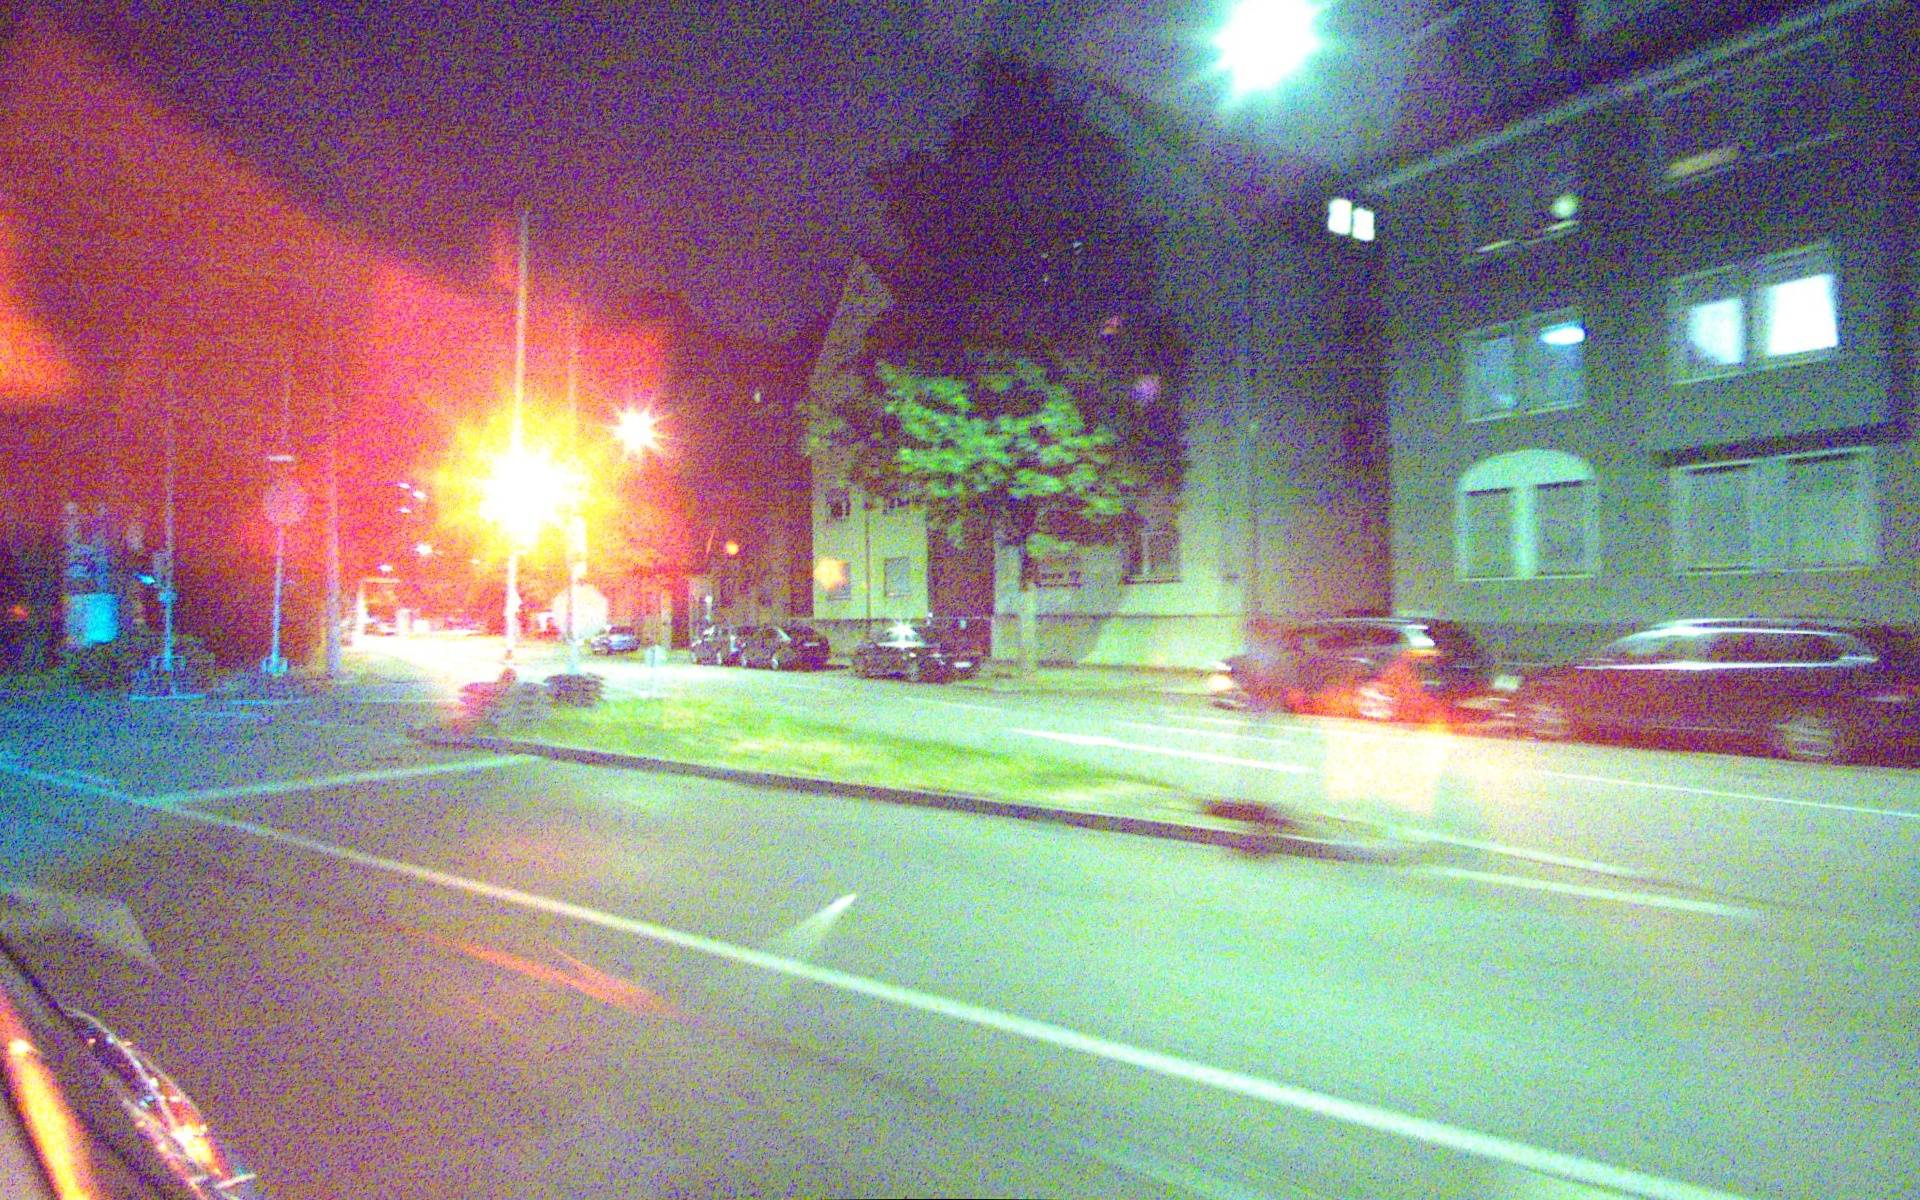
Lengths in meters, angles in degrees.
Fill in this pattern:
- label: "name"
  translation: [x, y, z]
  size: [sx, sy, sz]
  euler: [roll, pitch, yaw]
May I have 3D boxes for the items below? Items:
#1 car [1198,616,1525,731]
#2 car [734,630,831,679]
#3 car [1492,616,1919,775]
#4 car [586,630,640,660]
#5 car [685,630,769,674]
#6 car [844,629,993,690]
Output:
- label: "car"
  translation: [6.067, 1.045, 15.860]
  size: [1.835, 1.490, 4.484]
  euler: [-1, -1, -33]
- label: "car"
  translation: [-5.975, 1.755, 33.737]
  size: [1.530, 1.444, 4.359]
  euler: [-2, 0, -33]
- label: "car"
  translation: [8.834, 0.958, 11.617]
  size: [1.835, 1.444, 4.455]
  euler: [-2, -1, -33]
- label: "car"
  translation: [-17.765, 2.293, 51.760]
  size: [1.607, 1.475, 3.522]
  euler: [1, -2, -37]
- label: "car"
  translation: [-8.765, 1.905, 37.848]
  size: [1.616, 1.444, 4.361]
  euler: [-2, 0, -33]
- label: "car"
  translation: [-1.195, 1.525, 26.981]
  size: [1.836, 1.444, 4.414]
  euler: [-1, -1, -36]
